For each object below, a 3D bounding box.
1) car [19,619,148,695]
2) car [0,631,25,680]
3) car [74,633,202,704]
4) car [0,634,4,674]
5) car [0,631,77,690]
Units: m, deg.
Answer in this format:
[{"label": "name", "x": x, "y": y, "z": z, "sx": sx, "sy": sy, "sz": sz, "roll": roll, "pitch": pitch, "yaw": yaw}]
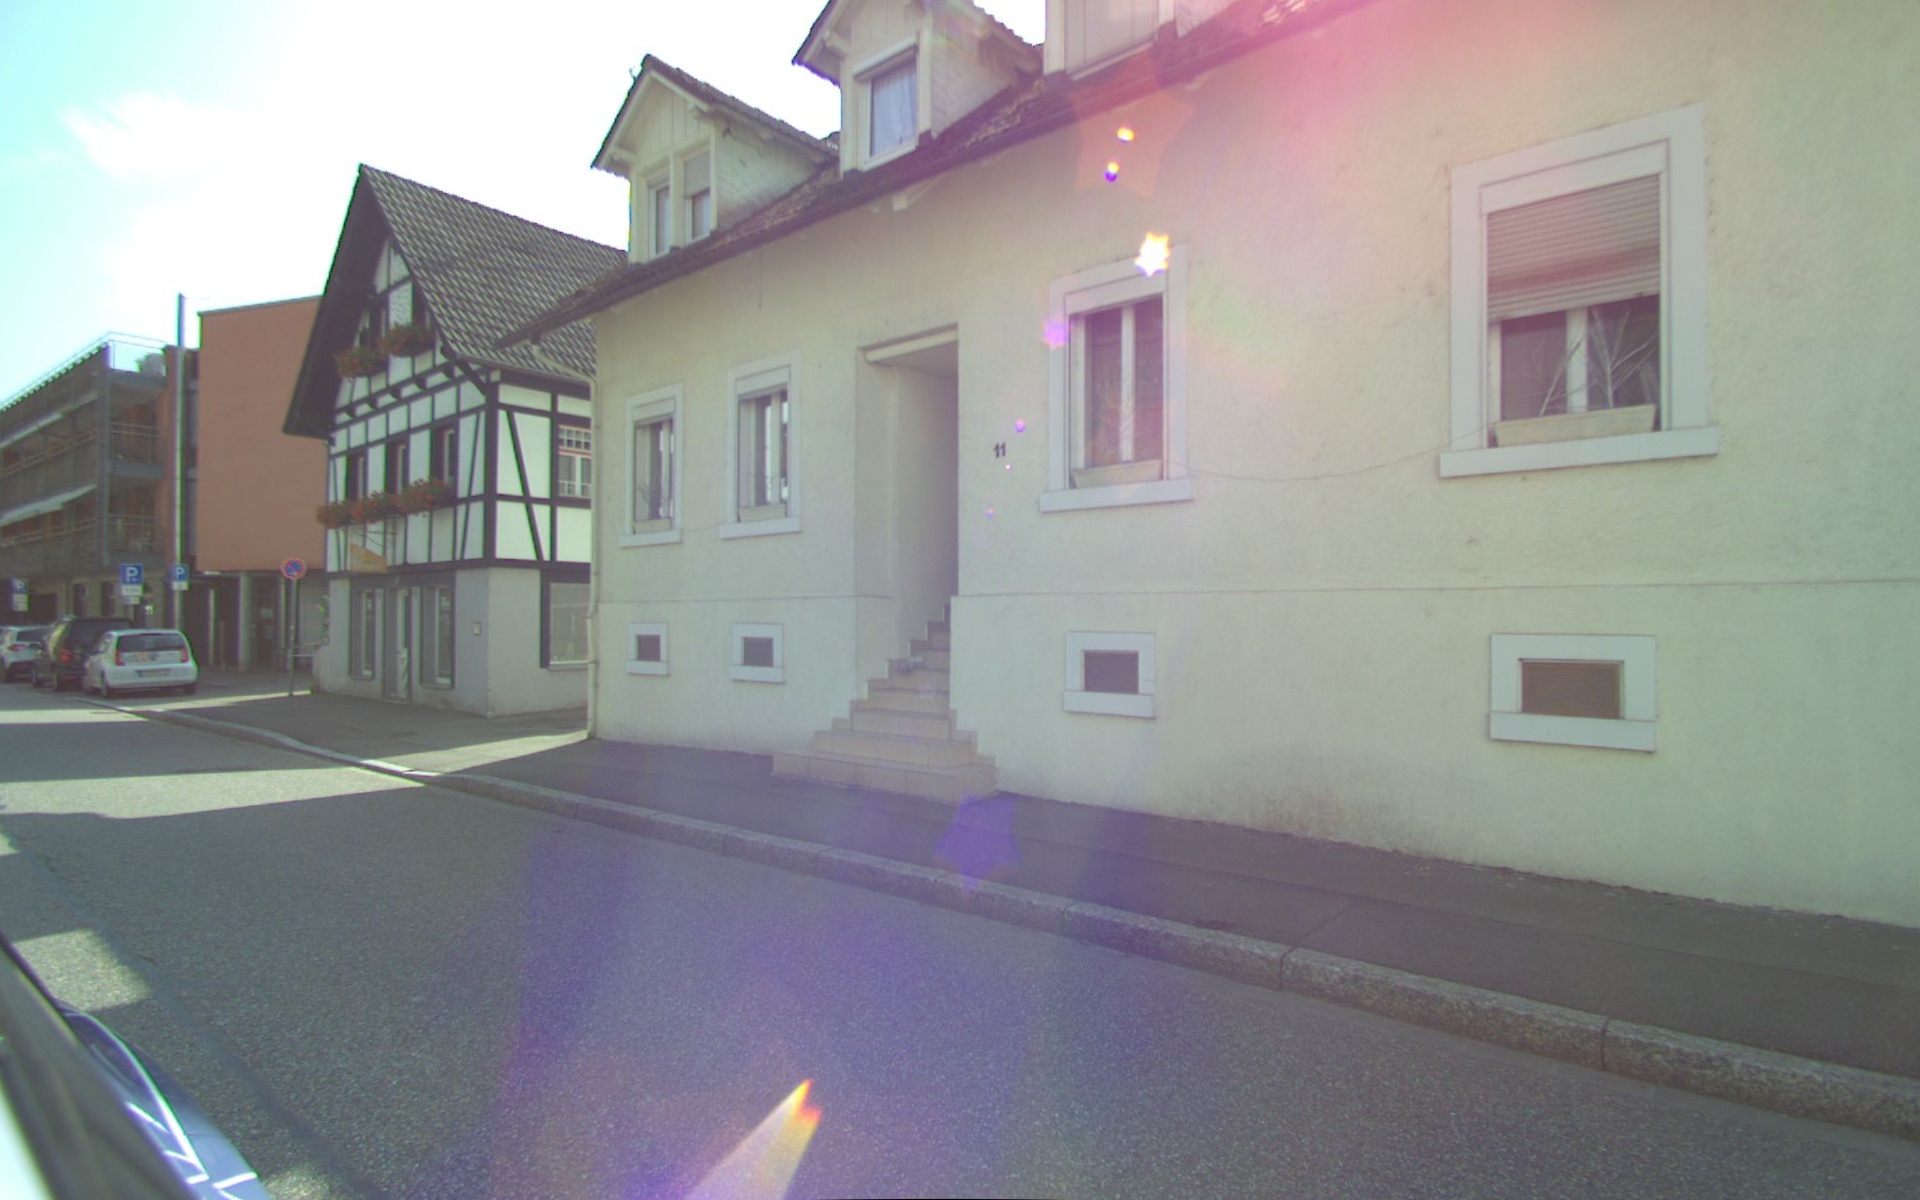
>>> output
[{"label": "car", "x": -22.567, "y": 1.420, "z": 26.006, "sx": 4.263, "sy": 1.810, "sz": 1.703, "roll": -2, "pitch": -2, "yaw": 38}, {"label": "car", "x": -32.544, "y": 1.851, "z": 33.598, "sx": 3.760, "sy": 1.567, "sz": 1.658, "roll": -2, "pitch": -2, "yaw": 39}, {"label": "car", "x": -18.626, "y": 1.509, "z": 22.880, "sx": 3.566, "sy": 1.443, "sz": 1.649, "roll": -3, "pitch": -1, "yaw": 41}, {"label": "car", "x": -36.112, "y": 1.965, "z": 36.850, "sx": 3.592, "sy": 1.427, "sz": 1.533, "roll": -1, "pitch": 0, "yaw": 41}, {"label": "car", "x": -27.371, "y": 1.727, "z": 29.594, "sx": 3.944, "sy": 1.601, "sz": 1.658, "roll": -2, "pitch": -2, "yaw": 39}]
